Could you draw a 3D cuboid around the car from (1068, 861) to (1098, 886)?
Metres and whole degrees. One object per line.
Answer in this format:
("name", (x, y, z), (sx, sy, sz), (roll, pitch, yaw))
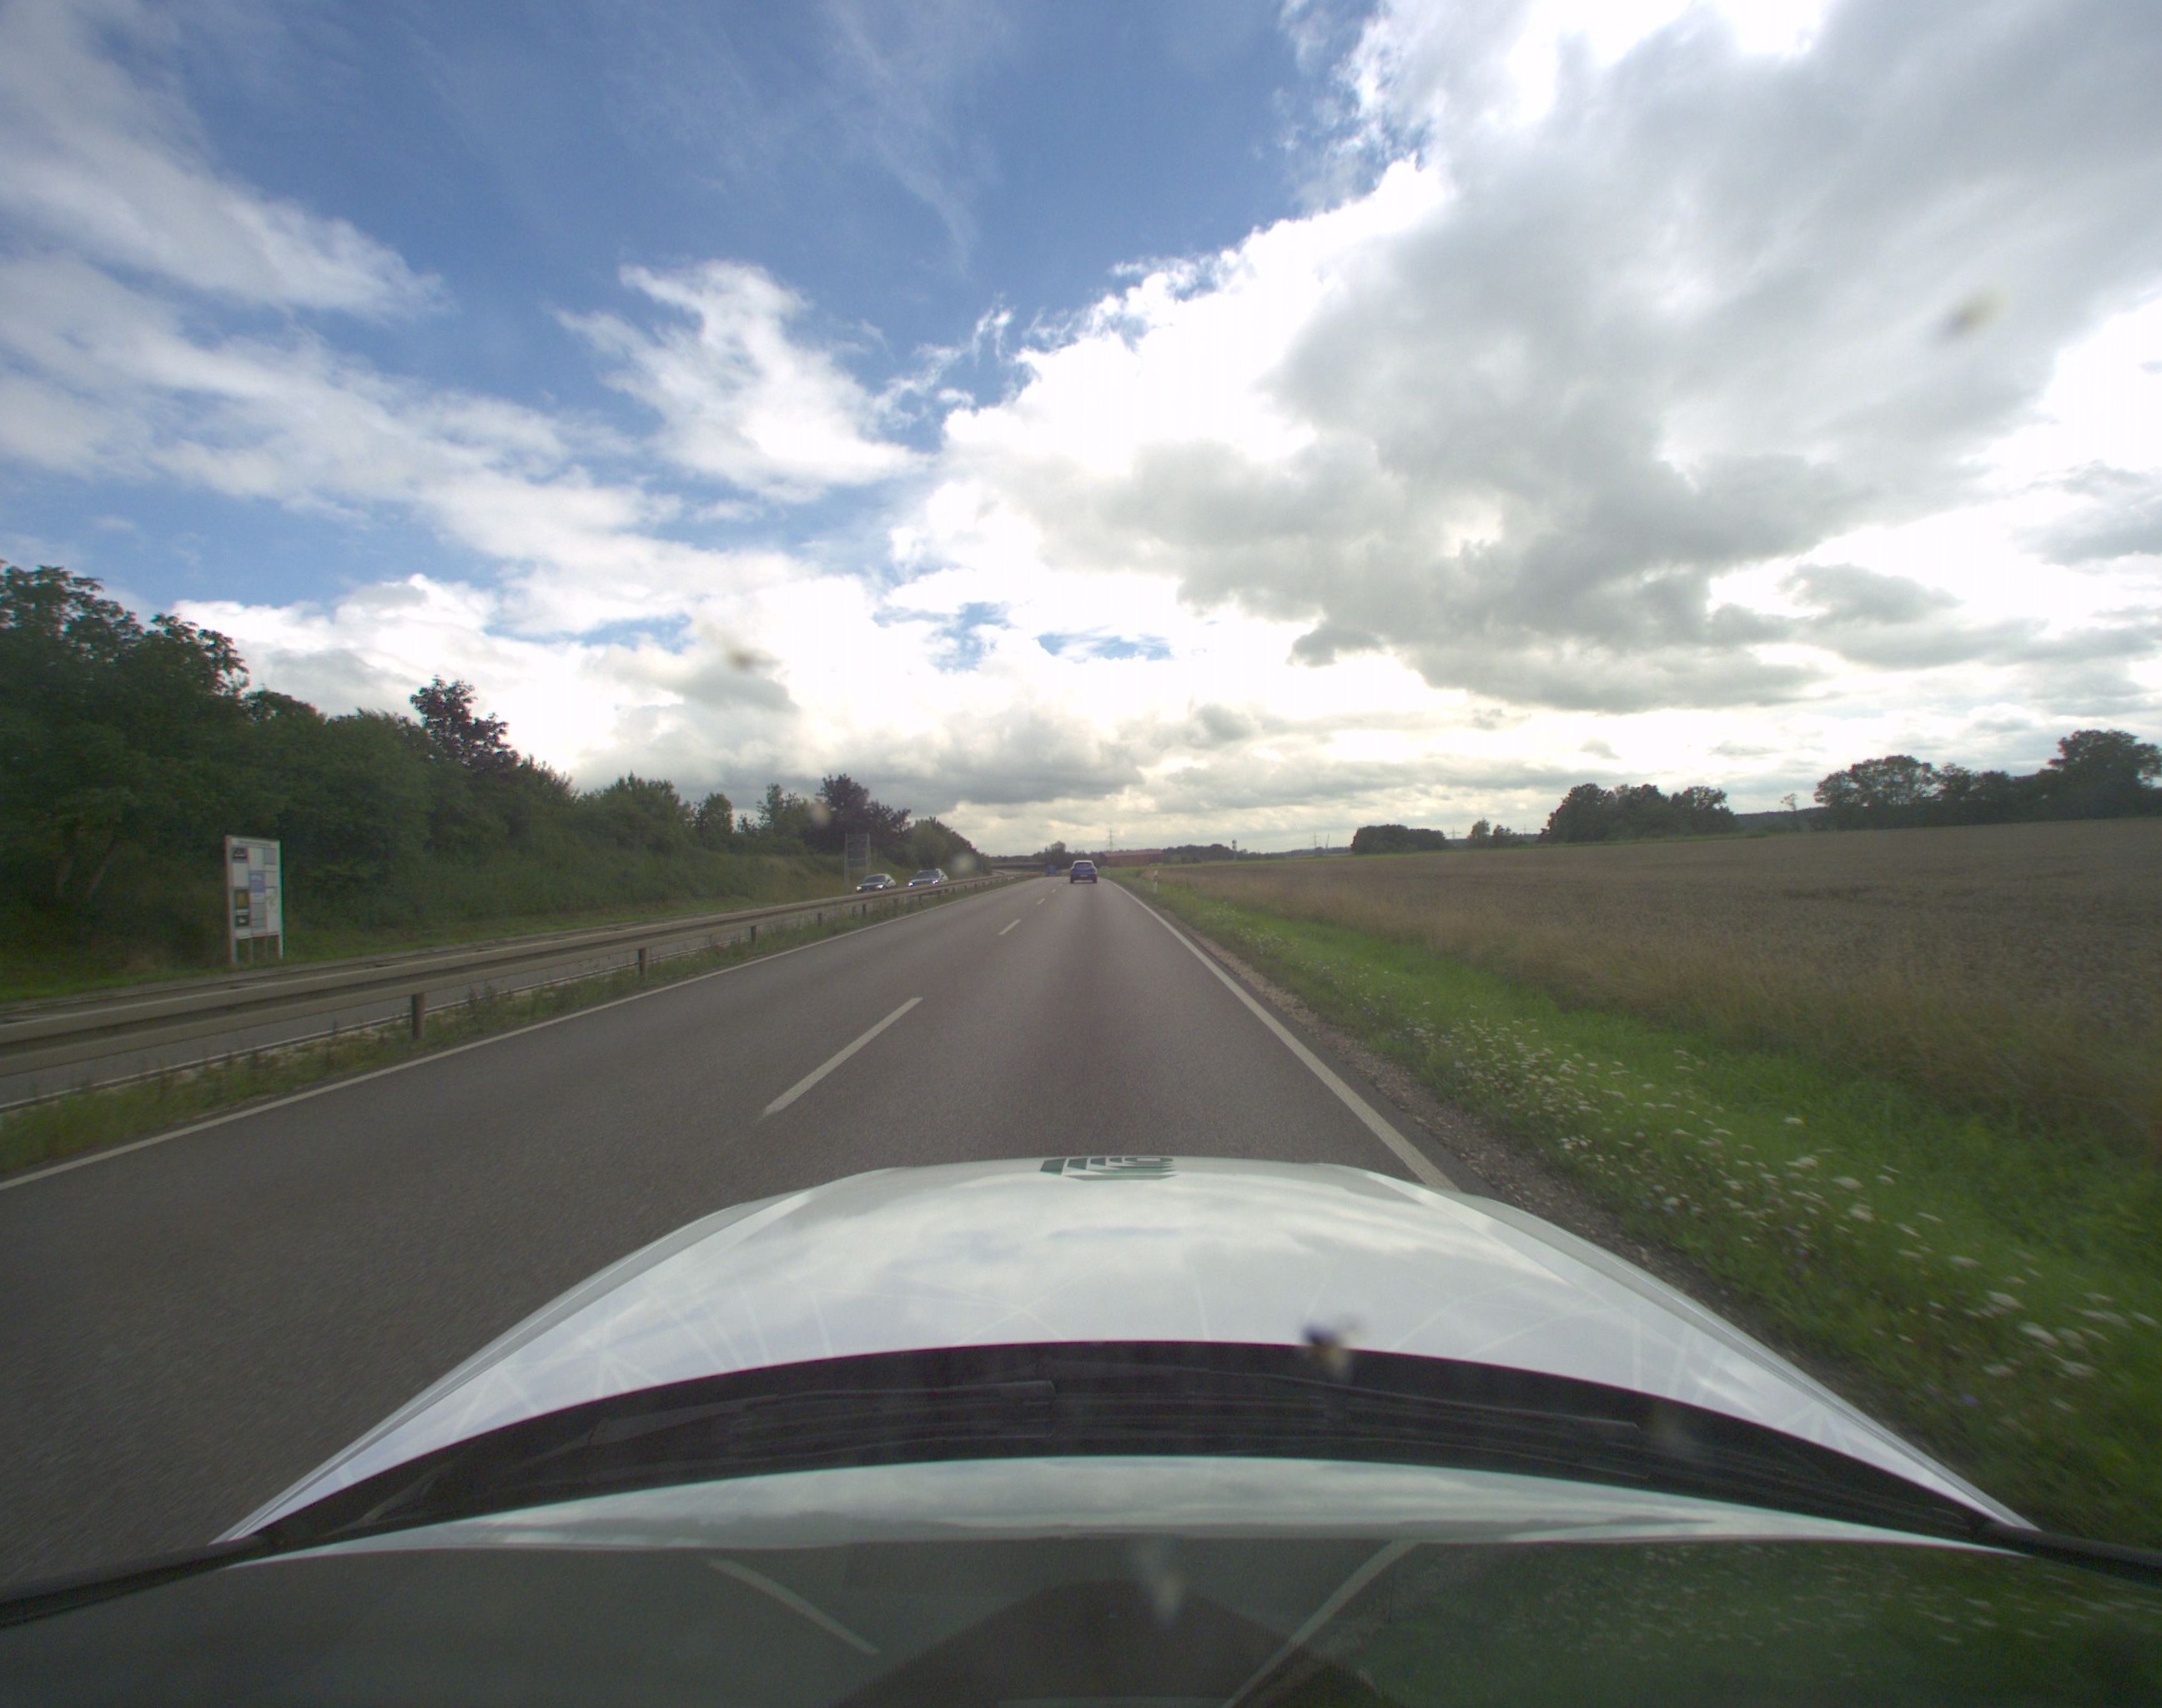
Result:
("car", (0.186, 1.373, 58.956), (2.026, 1.660, 4.543), (-2, 0, 1))

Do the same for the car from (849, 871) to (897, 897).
("car", (-12.784, 1.795, 50.331), (1.685, 1.324, 4.417), (-3, 0, 1))

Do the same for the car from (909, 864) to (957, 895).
("car", (-8.473, 1.423, 47.000), (1.748, 1.486, 4.577), (-3, 0, 1))
